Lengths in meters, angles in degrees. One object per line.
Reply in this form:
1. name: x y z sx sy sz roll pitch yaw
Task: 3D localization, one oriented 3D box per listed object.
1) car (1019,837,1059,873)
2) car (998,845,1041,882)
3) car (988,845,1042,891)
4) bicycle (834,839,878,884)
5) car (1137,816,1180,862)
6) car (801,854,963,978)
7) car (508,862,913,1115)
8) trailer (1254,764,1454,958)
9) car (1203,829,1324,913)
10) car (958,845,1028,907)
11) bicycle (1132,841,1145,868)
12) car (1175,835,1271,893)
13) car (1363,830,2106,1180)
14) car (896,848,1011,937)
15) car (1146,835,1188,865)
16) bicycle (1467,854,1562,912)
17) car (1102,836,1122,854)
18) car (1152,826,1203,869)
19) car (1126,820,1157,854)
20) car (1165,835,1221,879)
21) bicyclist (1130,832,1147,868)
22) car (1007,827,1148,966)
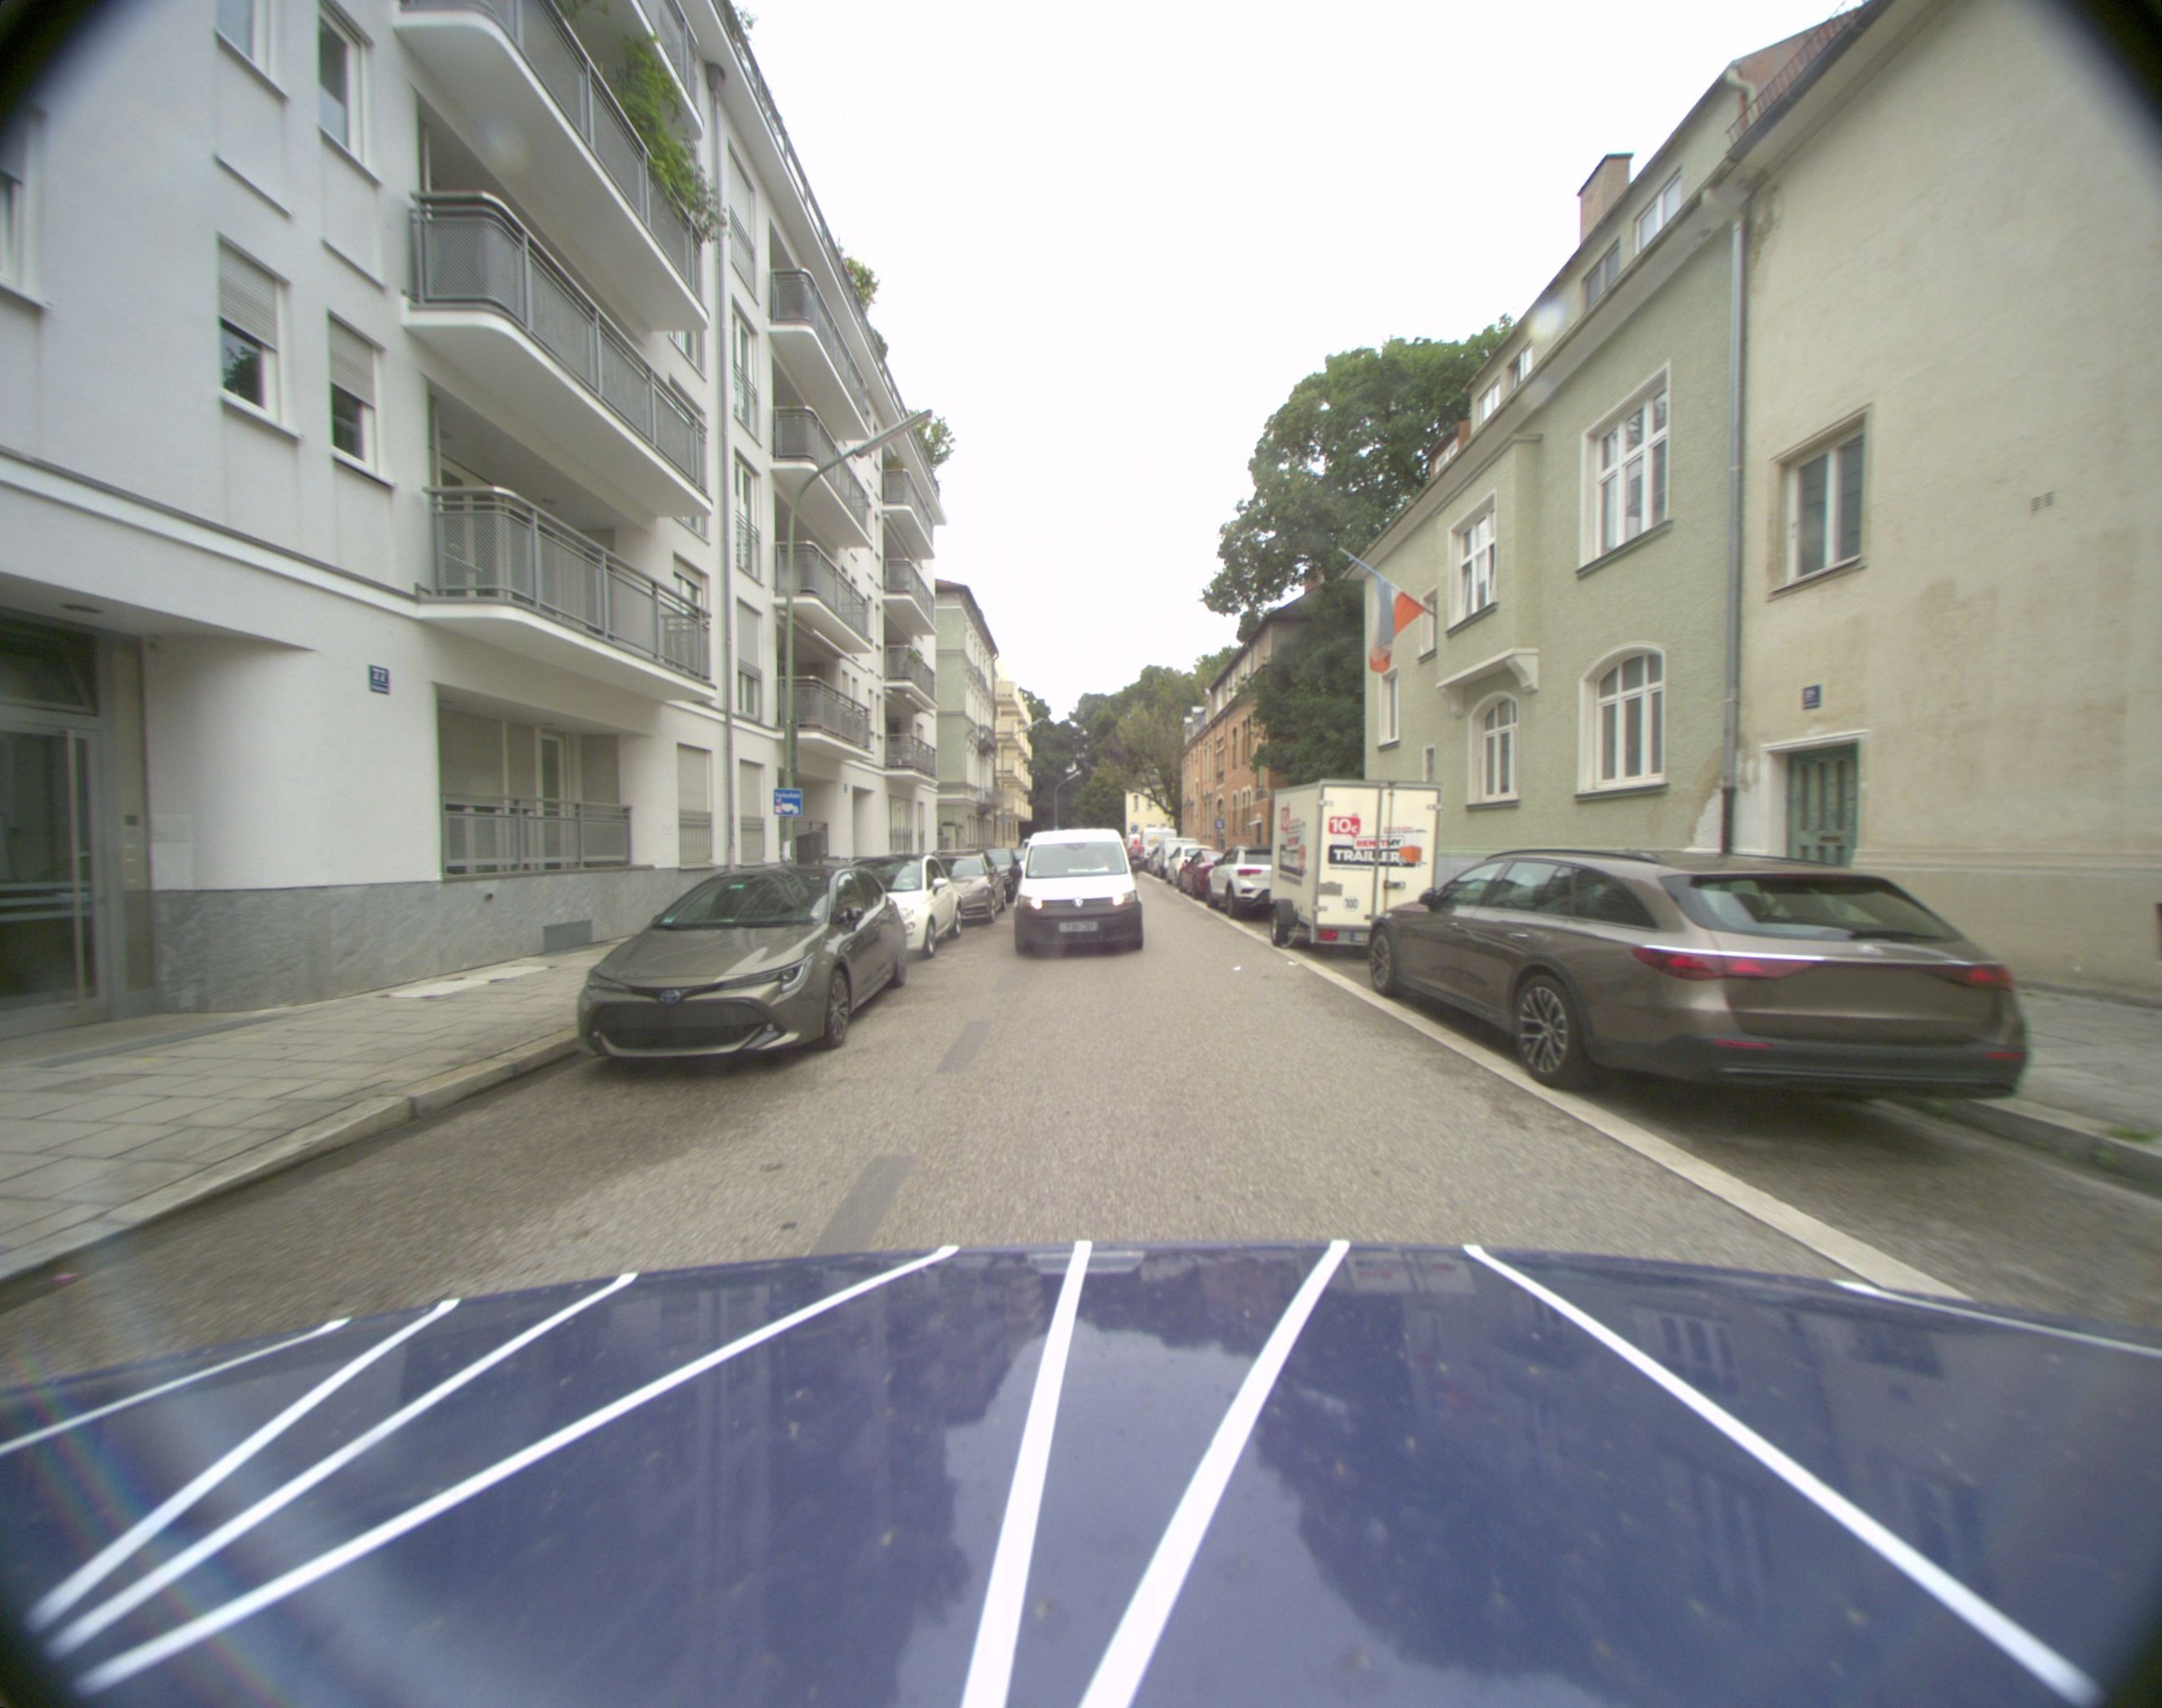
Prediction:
1. car: -2.339 0.012 43.431 1.858 1.886 4.591 -3 1 2
2. car: -2.674 0.385 33.463 1.623 1.404 3.551 -3 2 -1
3. car: -2.395 0.462 28.567 1.662 1.432 4.205 -3 2 -1
4. bicycle: -6.138 0.169 20.847 0.629 1.154 2.126 0 2 -2
5. car: 4.471 -0.904 44.522 1.986 2.464 5.221 1 2 1
6. car: -2.858 0.808 11.644 1.523 1.521 3.526 -2 1 0
7. car: -2.809 0.885 6.916 1.768 1.400 4.076 -1 2 -2
8. trailer: 3.992 0.036 11.947 1.713 2.448 4.386 2 2 4
9. car: 3.882 0.278 16.852 1.691 1.594 3.920 2 2 0
10. car: -2.540 0.578 22.711 1.608 1.522 3.982 -3 2 -1
11. bicycle: 2.501 0.017 32.966 0.505 1.122 1.773 1 2 3
12. car: 4.027 0.218 22.305 1.866 1.405 4.331 2 2 -2
13. car: 3.785 0.614 5.729 1.770 1.530 4.540 2 2 3
14. car: -2.648 0.714 16.853 1.738 1.522 4.619 -3 2 -1
15. car: 4.367 -0.254 39.053 1.694 1.435 4.144 1 2 0
16. bicycle: 7.870 0.494 13.896 0.524 0.901 1.928 -4 2 -3
17. car: 2.482 -0.743 61.837 1.585 1.403 3.611 0 2 1
18. car: 4.251 -0.332 34.047 1.694 1.793 4.143 1 2 -1
19. car: 4.746 -1.323 60.611 2.118 2.526 4.420 3 1 1
20. car: 4.001 0.058 27.651 1.477 1.458 3.312 1 2 -1
21. bicyclist: 2.478 -0.191 32.957 0.695 1.553 0.966 1 2 3
22. car: 0.020 0.517 11.825 1.776 1.762 4.000 -2 1 2
